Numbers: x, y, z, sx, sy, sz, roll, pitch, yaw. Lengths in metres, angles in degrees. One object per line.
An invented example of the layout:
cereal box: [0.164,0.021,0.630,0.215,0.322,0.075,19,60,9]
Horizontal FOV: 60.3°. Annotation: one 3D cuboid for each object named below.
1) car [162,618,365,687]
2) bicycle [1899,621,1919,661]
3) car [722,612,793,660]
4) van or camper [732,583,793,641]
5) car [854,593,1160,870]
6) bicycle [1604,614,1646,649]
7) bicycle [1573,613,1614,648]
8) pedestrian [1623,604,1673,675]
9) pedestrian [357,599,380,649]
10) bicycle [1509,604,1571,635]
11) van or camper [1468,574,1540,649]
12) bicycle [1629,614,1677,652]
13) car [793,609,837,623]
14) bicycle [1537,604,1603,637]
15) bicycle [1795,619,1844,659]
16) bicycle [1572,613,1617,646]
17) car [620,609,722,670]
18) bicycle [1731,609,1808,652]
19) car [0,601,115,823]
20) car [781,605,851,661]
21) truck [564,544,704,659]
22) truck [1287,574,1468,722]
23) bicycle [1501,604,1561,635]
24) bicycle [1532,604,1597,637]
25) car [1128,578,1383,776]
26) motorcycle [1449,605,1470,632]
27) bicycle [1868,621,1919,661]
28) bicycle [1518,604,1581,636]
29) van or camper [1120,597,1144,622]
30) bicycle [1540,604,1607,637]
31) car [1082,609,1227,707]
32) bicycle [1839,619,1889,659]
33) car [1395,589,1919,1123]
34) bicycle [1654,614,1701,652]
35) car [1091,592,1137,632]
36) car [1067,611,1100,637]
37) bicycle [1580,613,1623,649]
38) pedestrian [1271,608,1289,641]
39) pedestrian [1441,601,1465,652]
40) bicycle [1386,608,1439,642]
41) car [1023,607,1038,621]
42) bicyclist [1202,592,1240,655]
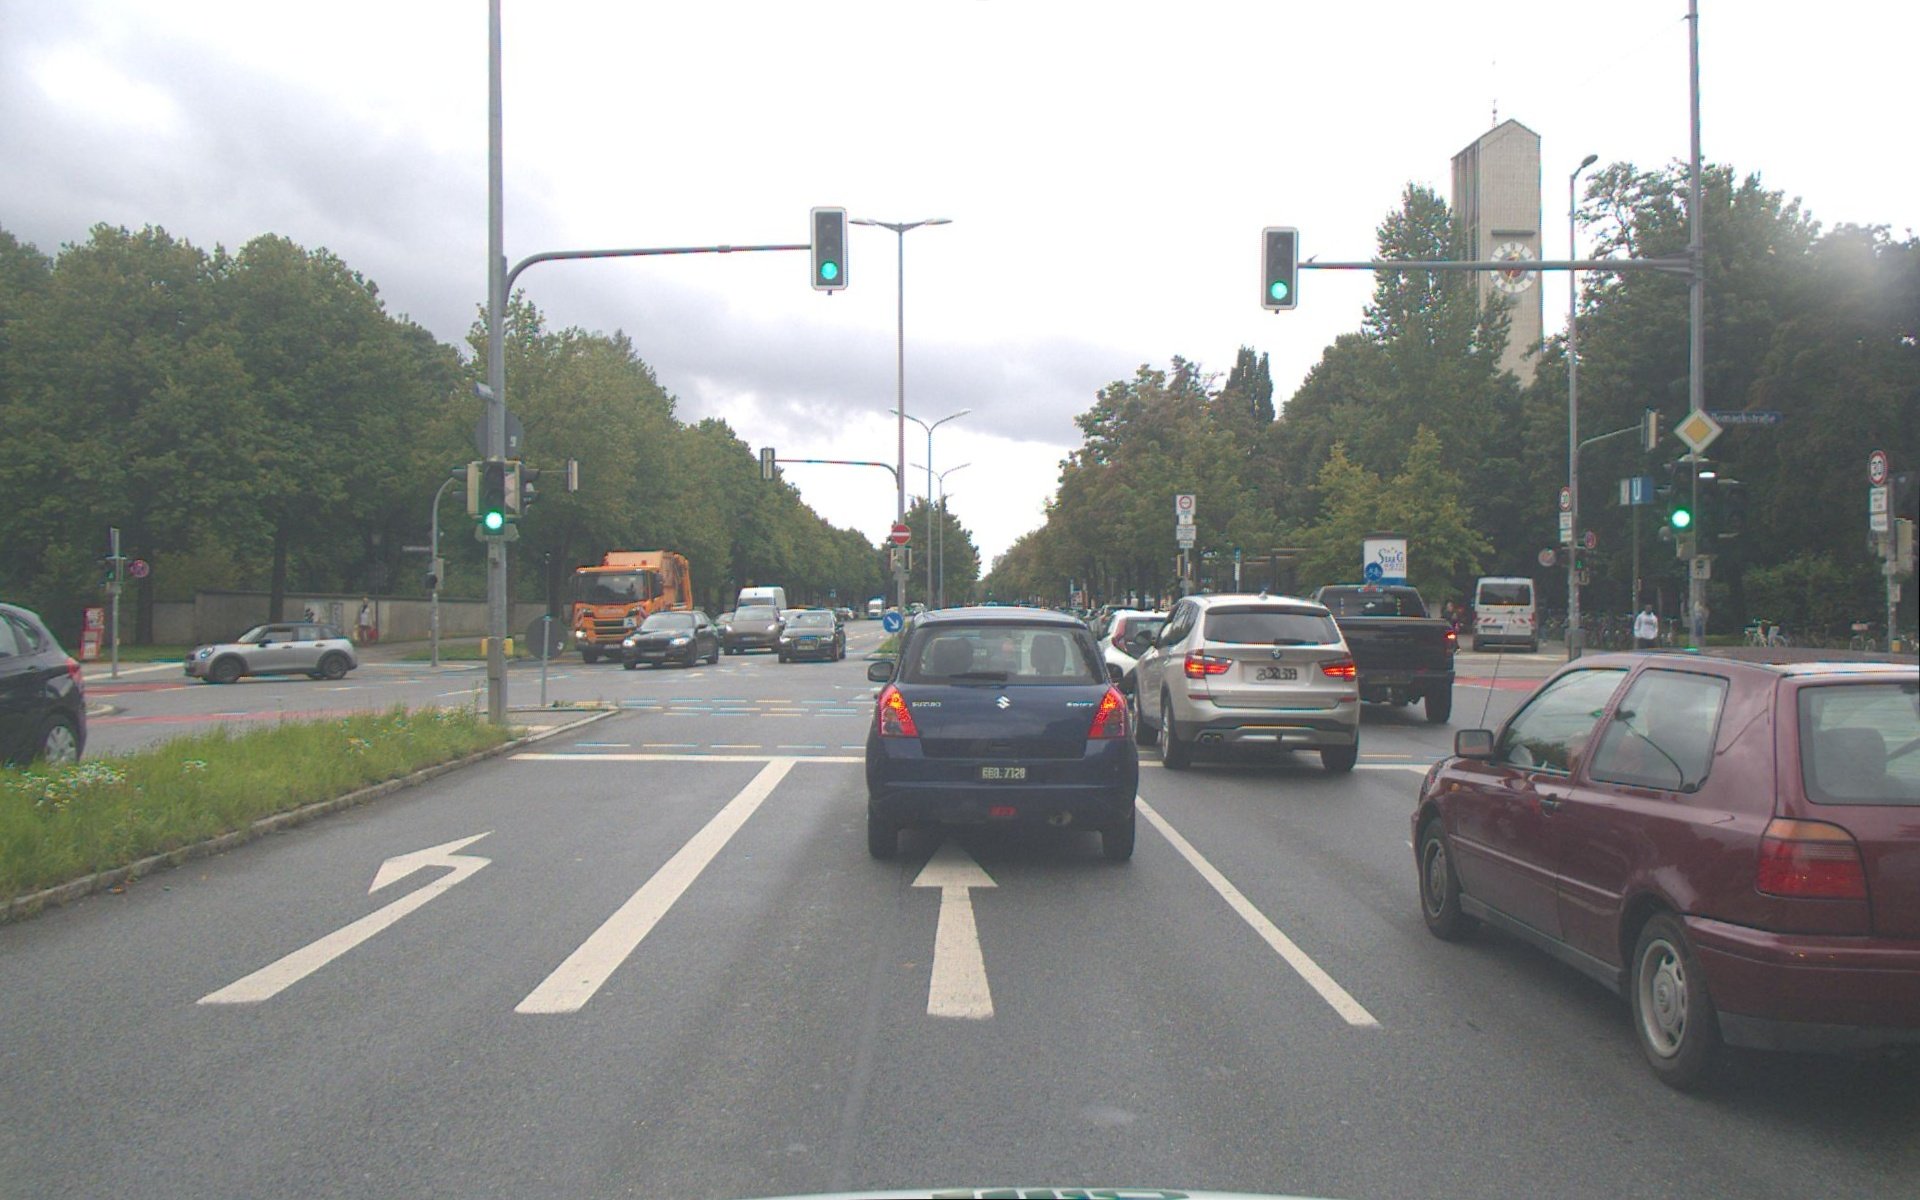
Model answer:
car: [-17.419,1.286,41.439,4.322,1.487,1.905,-2,0,-39]
bicycle: [27.218,1.161,46.616,0.595,1.114,2.116,0,0,8]
car: [-6.959,1.204,57.305,1.824,1.569,4.749,0,0,1]
van or camper: [-9.772,0.596,82.362,2.133,2.693,6.950,-2,0,0]
car: [0.238,0.762,11.495,1.752,1.583,3.999,0,0,-1]
bicycle: [22.393,1.048,55.676,0.705,1.174,2.117,-1,-1,40]
bicycle: [22.194,1.052,57.922,0.705,1.174,2.117,-1,-1,40]
pedestrian: [16.961,0.960,40.792,0.745,1.733,0.937,0,-1,-9]
pedestrian: [-21.450,0.867,59.974,0.693,1.771,0.517,0,-1,-5]
bicycle: [23.562,0.795,67.257,2.290,1.178,0.529,-3,0,0]
van or camper: [17.864,0.366,54.430,2.096,2.336,6.202,0,0,18]
bicycle: [22.063,1.030,52.691,0.701,1.174,2.129,0,0,3]
car: [-14.383,1.586,164.156,3.952,1.378,1.829,0,0,-34]
bicycle: [23.449,0.780,63.610,2.290,1.178,0.529,-3,0,0]
bicycle: [25.218,1.132,48.555,0.595,1.114,2.116,0,0,8]
bicycle: [23.615,1.089,61.557,2.111,1.174,0.707,0,-1,-43]
car: [-7.701,1.019,44.491,1.887,1.487,4.897,-2,0,-1]
bicycle: [24.167,0.897,49.423,0.692,1.272,2.097,0,0,-25]
car: [-7.717,0.804,11.413,1.664,1.597,4.290,0,0,-2]
car: [-4.029,0.900,46.675,1.606,1.513,3.781,0,0,0]
truck: [-10.264,0.066,52.841,2.722,3.415,7.268,0,-1,3]
truck: [6.339,0.681,25.795,2.054,2.049,5.816,0,0,7]
bicycle: [23.835,0.807,69.088,2.290,1.178,0.529,-3,0,0]
bicycle: [23.462,0.783,64.201,2.290,1.178,0.529,-3,0,0]
car: [2.868,0.706,16.929,1.812,1.773,4.096,0,0,-1]
motorcycle: [22.609,0.835,74.912,0.643,1.198,1.812,0,0,26]
bicycle: [26.637,1.151,47.146,0.595,1.114,2.116,0,0,8]
bicycle: [23.577,0.792,66.201,2.290,1.178,0.529,-3,0,0]
van or camper: [18.492,1.055,178.161,1.982,2.603,5.957,0,0,1]
bicycle: [23.373,0.777,63.017,2.290,1.178,0.529,-3,0,0]
car: [3.081,0.887,26.931,1.812,1.472,4.096,0,0,-1]
bicycle: [25.900,1.099,47.424,0.595,1.114,2.116,0,0,10]
car: [3.040,0.719,6.571,1.589,1.479,3.949,0,0,0]
bicycle: [22.836,1.043,52.666,0.682,1.174,2.129,0,0,3]
car: [7.039,0.547,75.894,1.711,1.754,4.906,1,0,1]
car: [7.270,1.394,97.972,1.682,1.535,4.223,0,0,1]
bicycle: [21.819,1.039,56.223,0.705,1.174,2.117,-1,-1,40]
pedestrian: [14.941,1.130,77.337,0.569,1.540,0.691,0,-1,-18]
pedestrian: [15.243,0.807,51.128,0.676,1.565,0.737,0,-1,20]
bicycle: [16.560,0.918,60.557,1.768,1.162,0.568,-2,-1,6]
car: [8.224,1.655,194.353,1.649,1.552,4.456,1,0,1]
bicyclist: [7.504,0.673,47.585,0.818,1.795,0.737,0,-1,-35]
